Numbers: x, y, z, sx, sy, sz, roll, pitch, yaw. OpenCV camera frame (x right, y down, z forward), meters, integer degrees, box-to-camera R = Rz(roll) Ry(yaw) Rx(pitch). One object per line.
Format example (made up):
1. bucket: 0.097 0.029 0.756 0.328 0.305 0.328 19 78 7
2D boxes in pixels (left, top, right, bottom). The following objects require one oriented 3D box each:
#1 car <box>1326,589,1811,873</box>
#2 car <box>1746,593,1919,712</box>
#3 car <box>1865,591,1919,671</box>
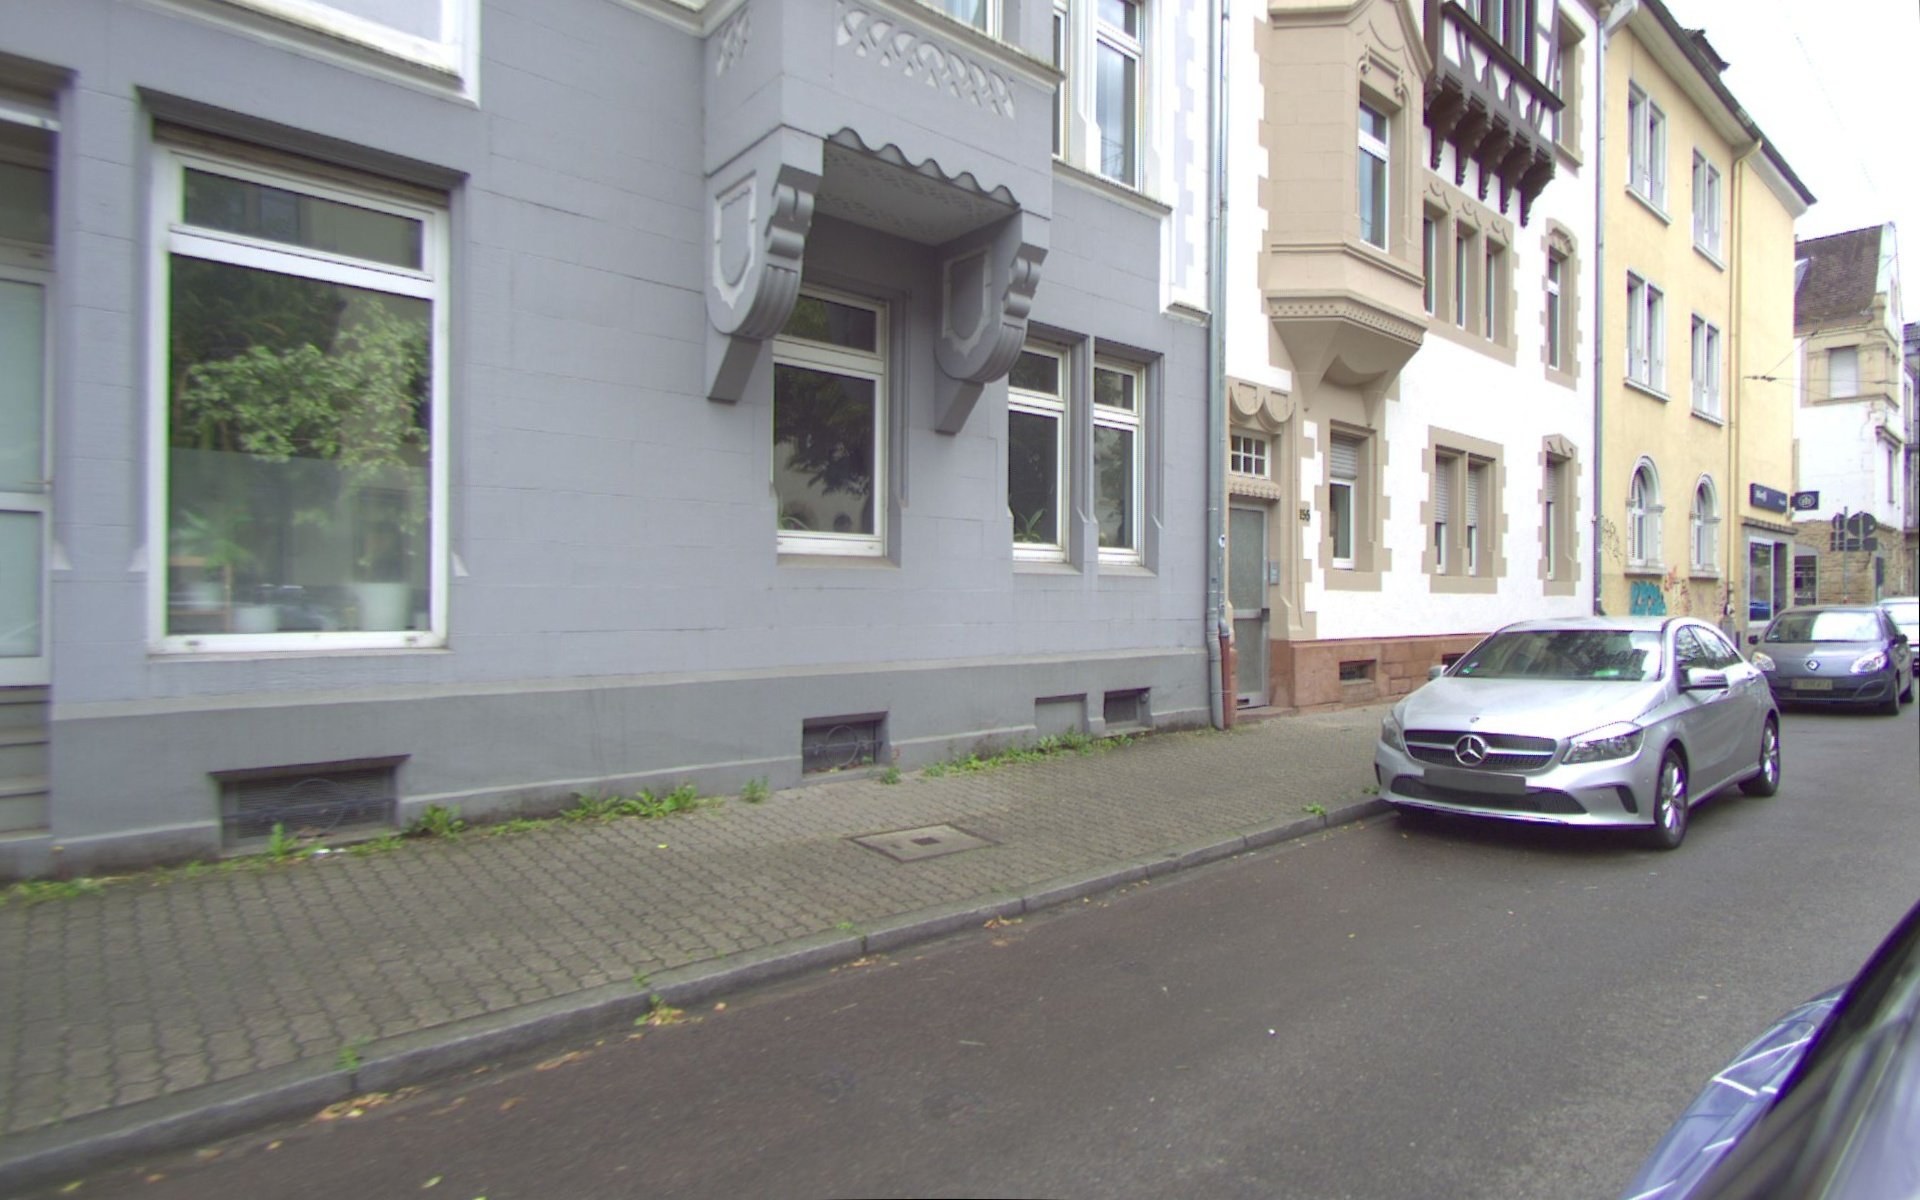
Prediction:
1. car: 4.667 0.745 7.520 4.139 1.533 1.791 0 -3 -40
2. car: 13.121 0.704 14.900 4.140 1.507 1.633 0 -3 -41
3. car: 20.573 0.597 21.403 4.141 1.547 1.633 -1 0 -41
